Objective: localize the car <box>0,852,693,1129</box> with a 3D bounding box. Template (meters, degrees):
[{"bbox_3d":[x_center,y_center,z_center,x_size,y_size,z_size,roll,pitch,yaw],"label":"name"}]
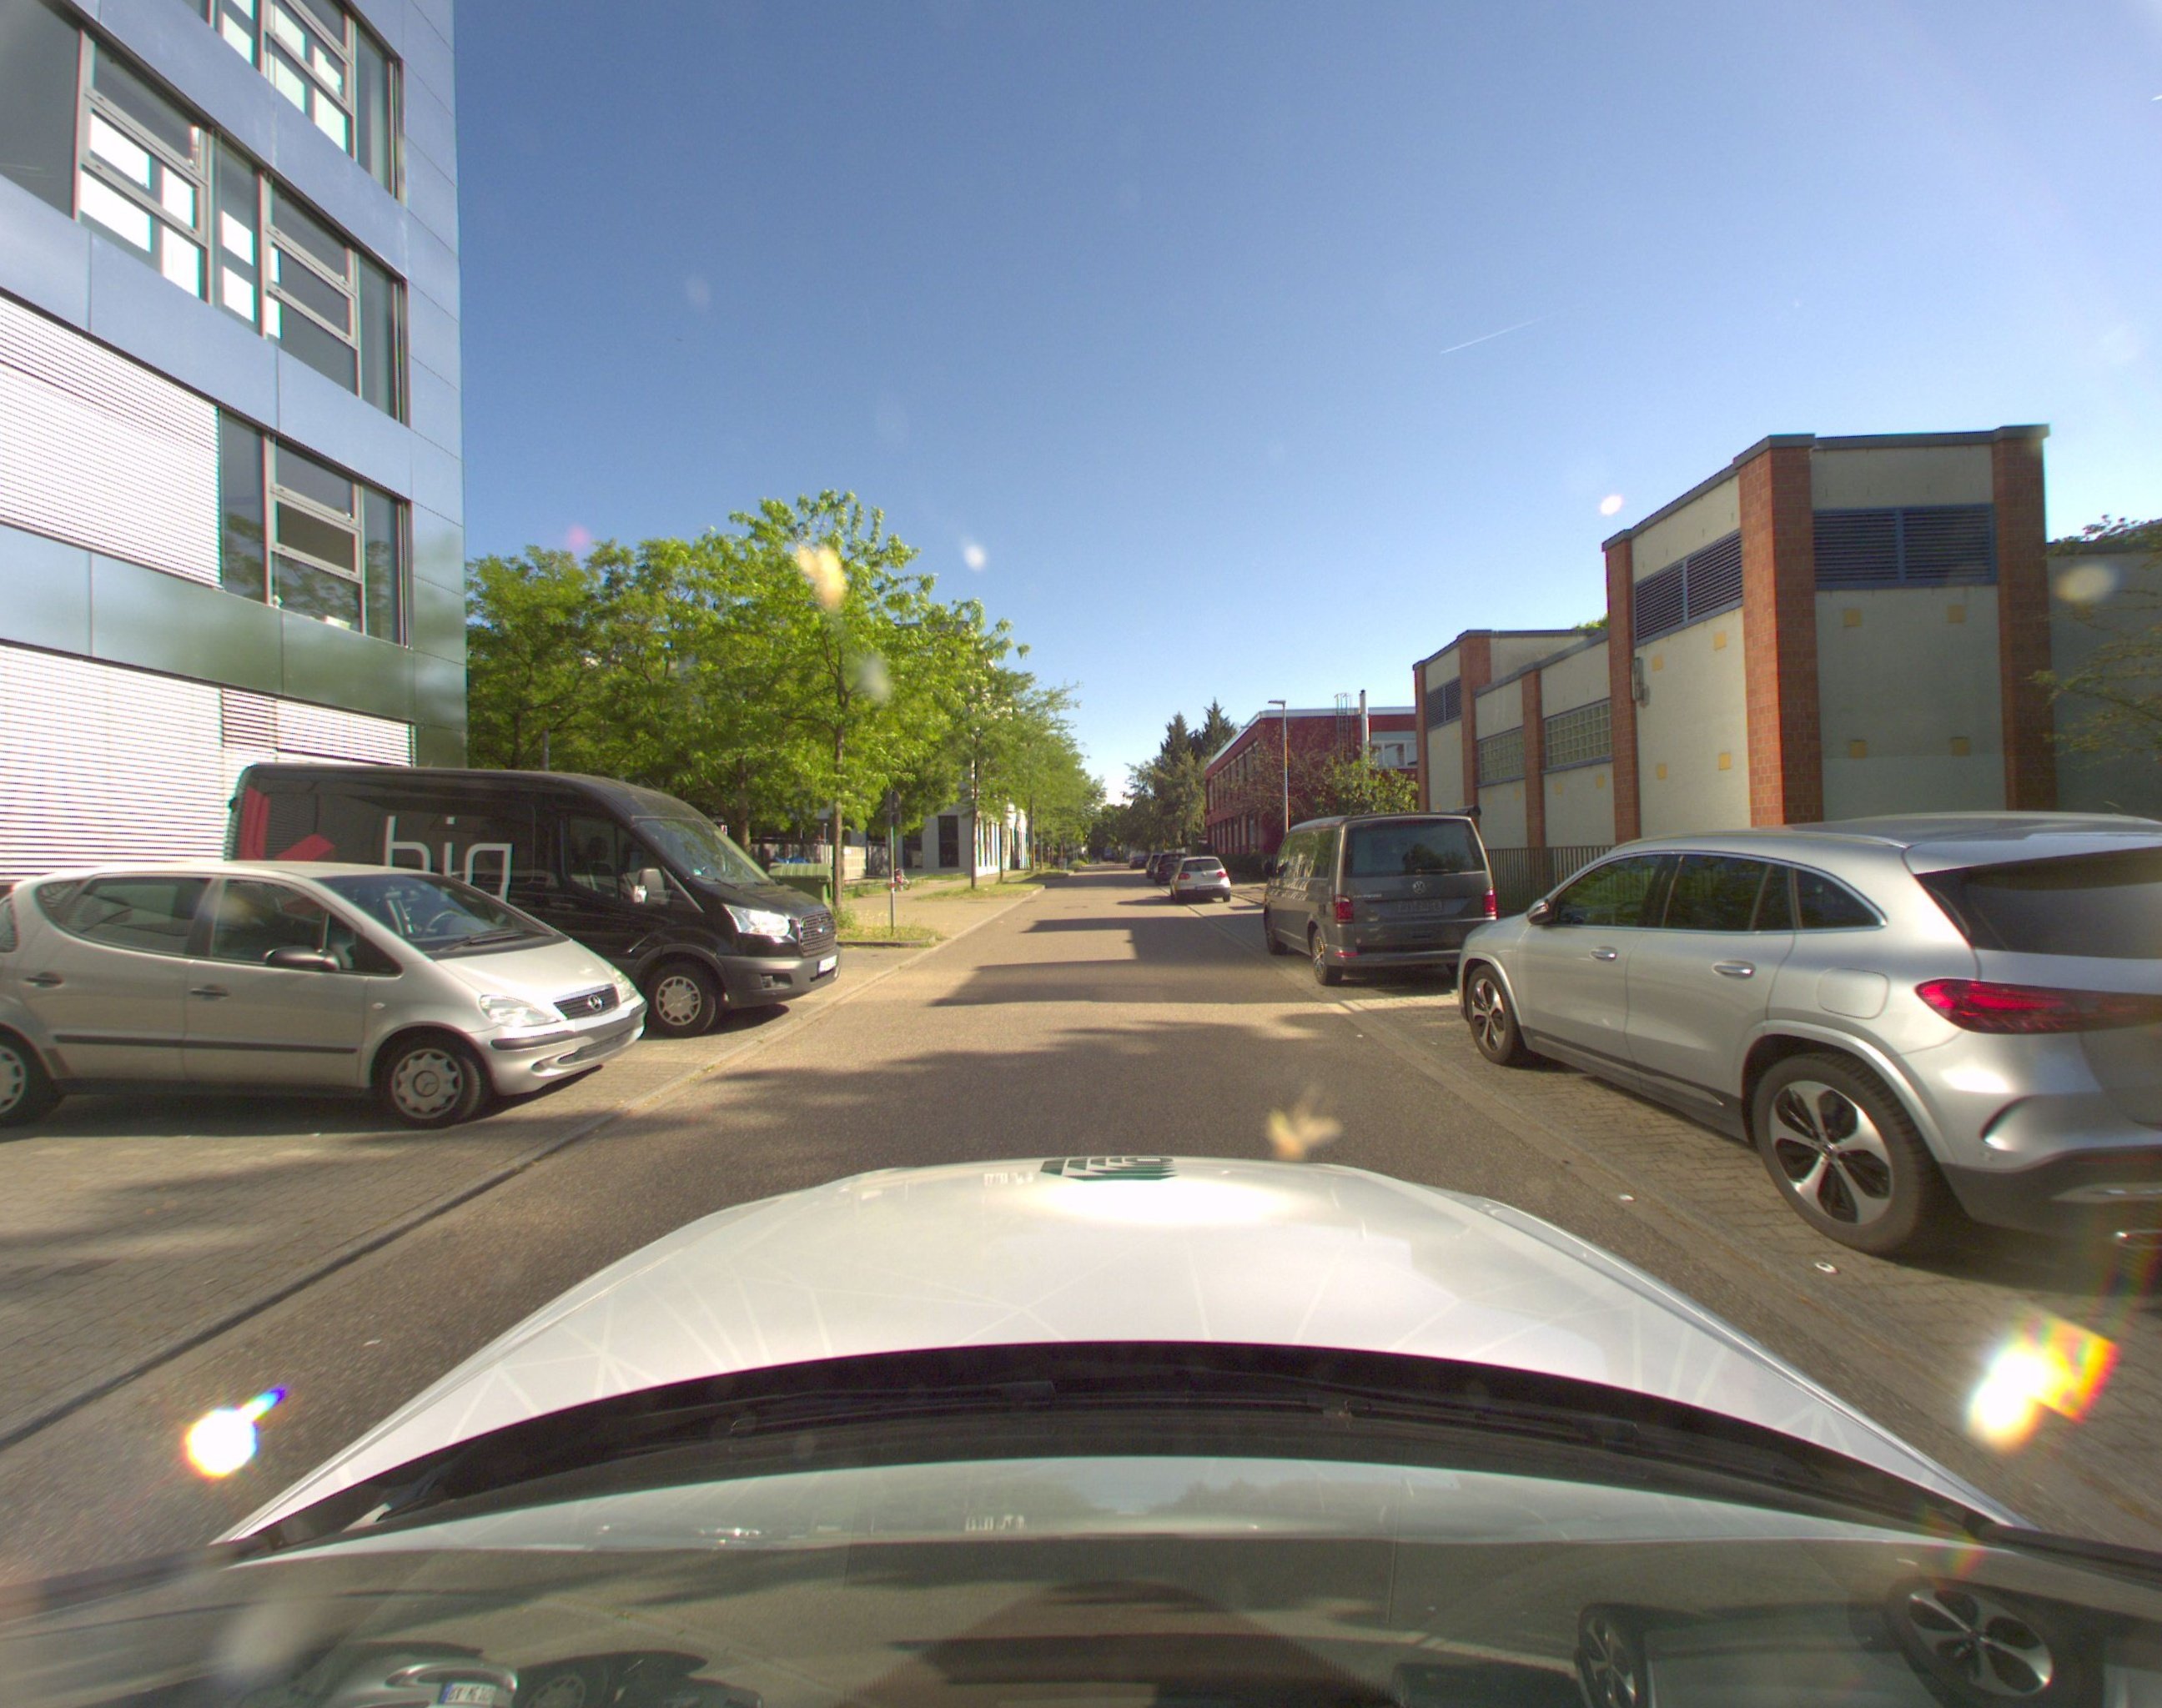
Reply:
[{"bbox_3d":[-5.162,0.827,5.828,3.819,1.645,1.892,0,-1,0],"label":"car"}]

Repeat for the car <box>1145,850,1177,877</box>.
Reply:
[{"bbox_3d":[5.131,0.604,52.681,1.847,1.648,4.003,-2,0,3],"label":"car"}]

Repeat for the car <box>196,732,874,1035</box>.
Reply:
[{"bbox_3d":[-5.209,0.266,8.455,5.435,2.623,2.232,1,-1,1],"label":"car"}]

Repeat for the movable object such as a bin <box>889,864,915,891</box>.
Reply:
[{"bbox_3d":[-8.201,1.043,37.312,0.660,1.181,1.936,-1,0,2],"label":"movable object such as a bin"}]

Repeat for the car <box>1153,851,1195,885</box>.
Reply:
[{"bbox_3d":[4.686,0.690,41.570,1.830,1.634,4.204,-1,0,3],"label":"car"}]

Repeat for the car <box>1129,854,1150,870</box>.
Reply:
[{"bbox_3d":[6.123,0.810,85.411,1.986,1.442,4.003,-4,0,2],"label":"car"}]

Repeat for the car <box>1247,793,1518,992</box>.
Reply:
[{"bbox_3d":[3.671,0.442,11.024,1.936,2.022,4.827,-3,-1,2],"label":"car"}]

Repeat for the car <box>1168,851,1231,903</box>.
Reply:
[{"bbox_3d":[3.861,0.700,27.040,1.653,1.561,3.937,-1,0,3],"label":"car"}]

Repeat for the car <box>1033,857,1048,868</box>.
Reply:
[{"bbox_3d":[-5.688,1.182,115.897,1.988,1.458,3.791,-1,-1,-1],"label":"car"}]

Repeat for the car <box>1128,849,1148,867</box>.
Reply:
[{"bbox_3d":[6.352,0.450,91.158,1.986,1.834,4.003,-4,0,2],"label":"car"}]

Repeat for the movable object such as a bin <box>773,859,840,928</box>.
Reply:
[{"bbox_3d":[-5.962,0.831,17.774,1.296,1.414,1.221,-1,-1,-16],"label":"movable object such as a bin"}]

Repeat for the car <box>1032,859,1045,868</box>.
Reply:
[{"bbox_3d":[-6.592,1.429,127.638,1.900,1.342,3.791,-1,0,-1],"label":"car"}]

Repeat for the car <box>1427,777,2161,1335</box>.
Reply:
[{"bbox_3d":[3.735,0.592,4.557,1.819,1.629,4.295,-3,-1,2],"label":"car"}]

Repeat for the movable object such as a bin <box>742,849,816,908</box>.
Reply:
[{"bbox_3d":[-8.826,0.718,23.890,1.407,1.597,1.525,3,-3,5],"label":"movable object such as a bin"}]
